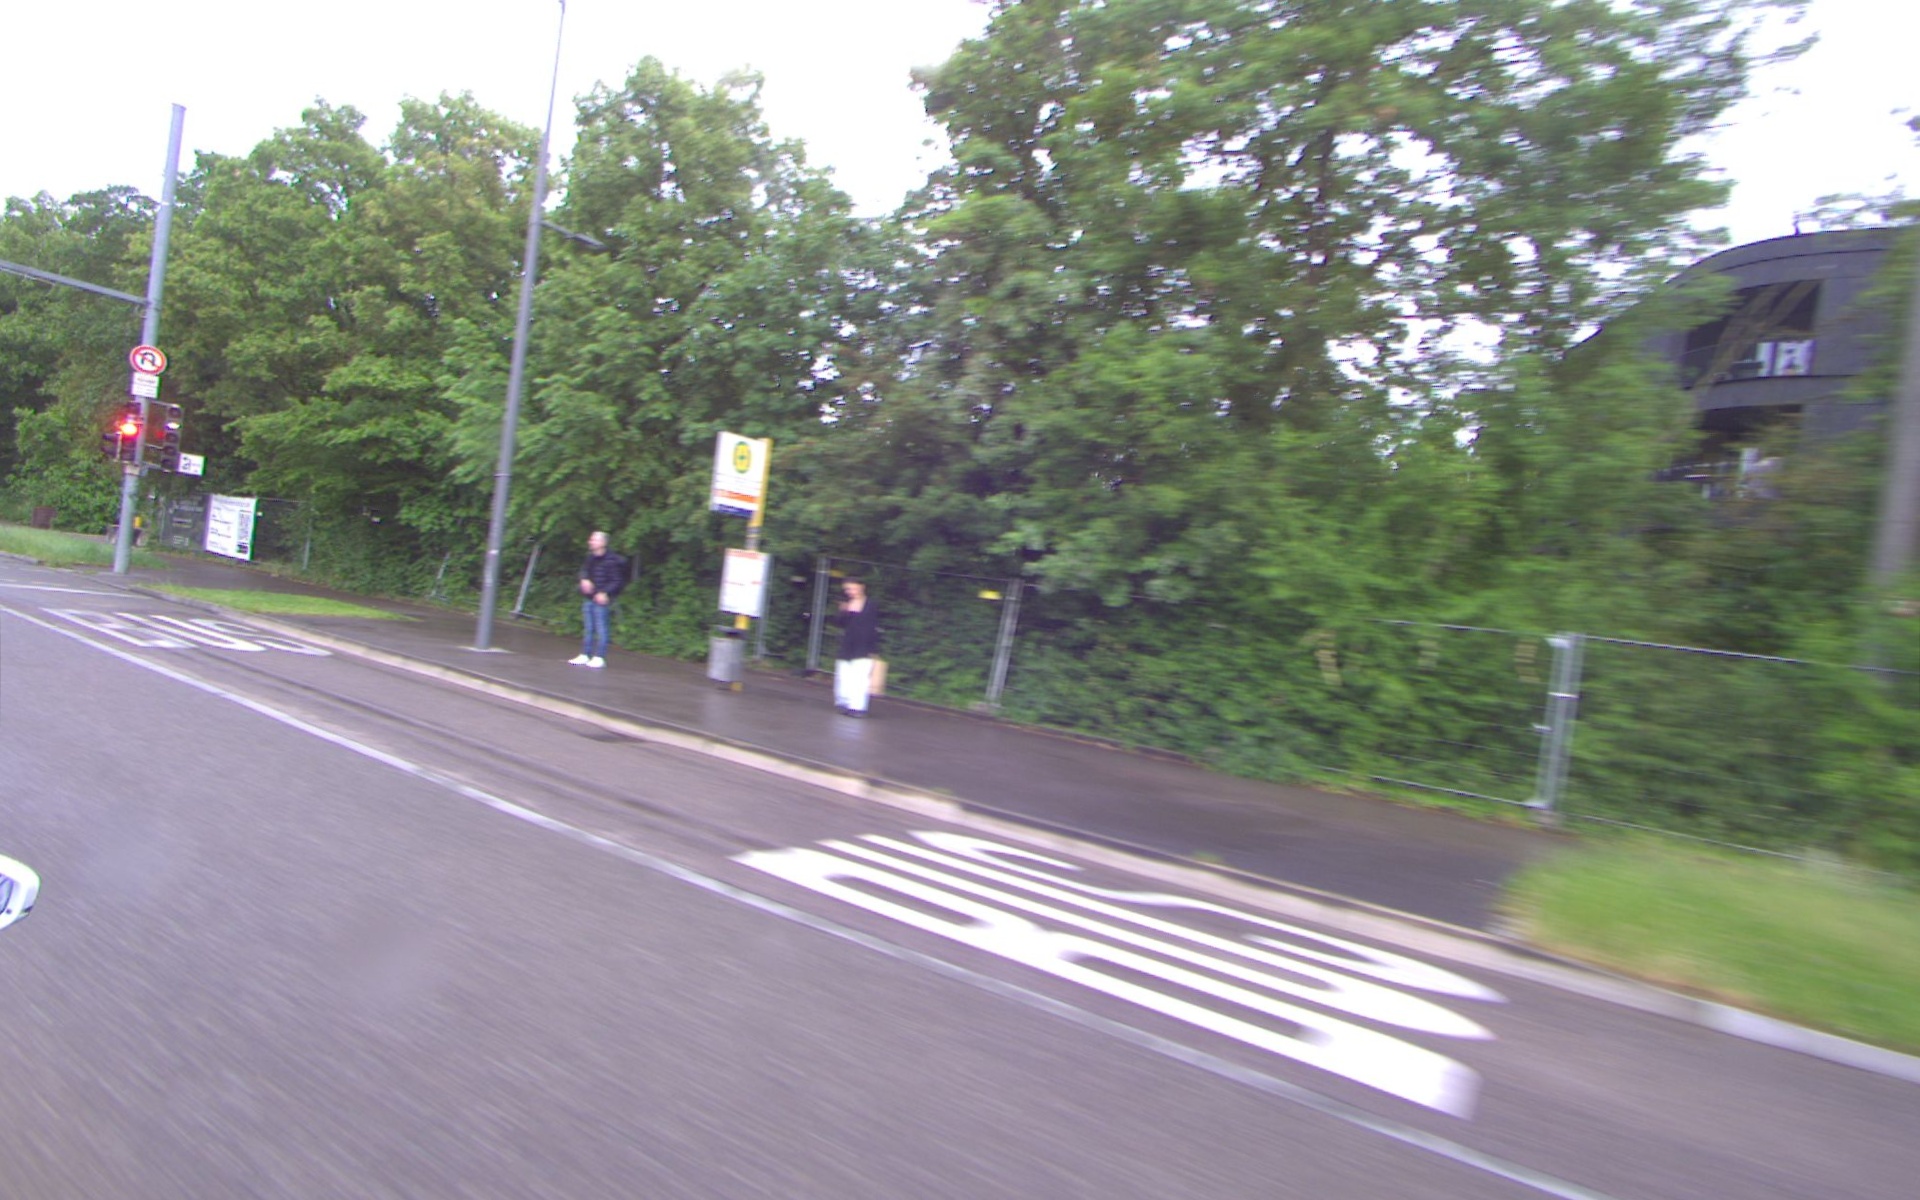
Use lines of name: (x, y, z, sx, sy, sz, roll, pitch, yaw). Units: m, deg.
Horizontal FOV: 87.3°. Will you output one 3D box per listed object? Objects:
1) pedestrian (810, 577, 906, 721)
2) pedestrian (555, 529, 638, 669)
pedestrian: (-1.274, 0.605, 12.606, 0.779, 1.678, 0.676, 7, 1, 29)
pedestrian: (-5.258, -0.001, 14.548, 0.706, 1.925, 0.641, 7, 1, 29)
